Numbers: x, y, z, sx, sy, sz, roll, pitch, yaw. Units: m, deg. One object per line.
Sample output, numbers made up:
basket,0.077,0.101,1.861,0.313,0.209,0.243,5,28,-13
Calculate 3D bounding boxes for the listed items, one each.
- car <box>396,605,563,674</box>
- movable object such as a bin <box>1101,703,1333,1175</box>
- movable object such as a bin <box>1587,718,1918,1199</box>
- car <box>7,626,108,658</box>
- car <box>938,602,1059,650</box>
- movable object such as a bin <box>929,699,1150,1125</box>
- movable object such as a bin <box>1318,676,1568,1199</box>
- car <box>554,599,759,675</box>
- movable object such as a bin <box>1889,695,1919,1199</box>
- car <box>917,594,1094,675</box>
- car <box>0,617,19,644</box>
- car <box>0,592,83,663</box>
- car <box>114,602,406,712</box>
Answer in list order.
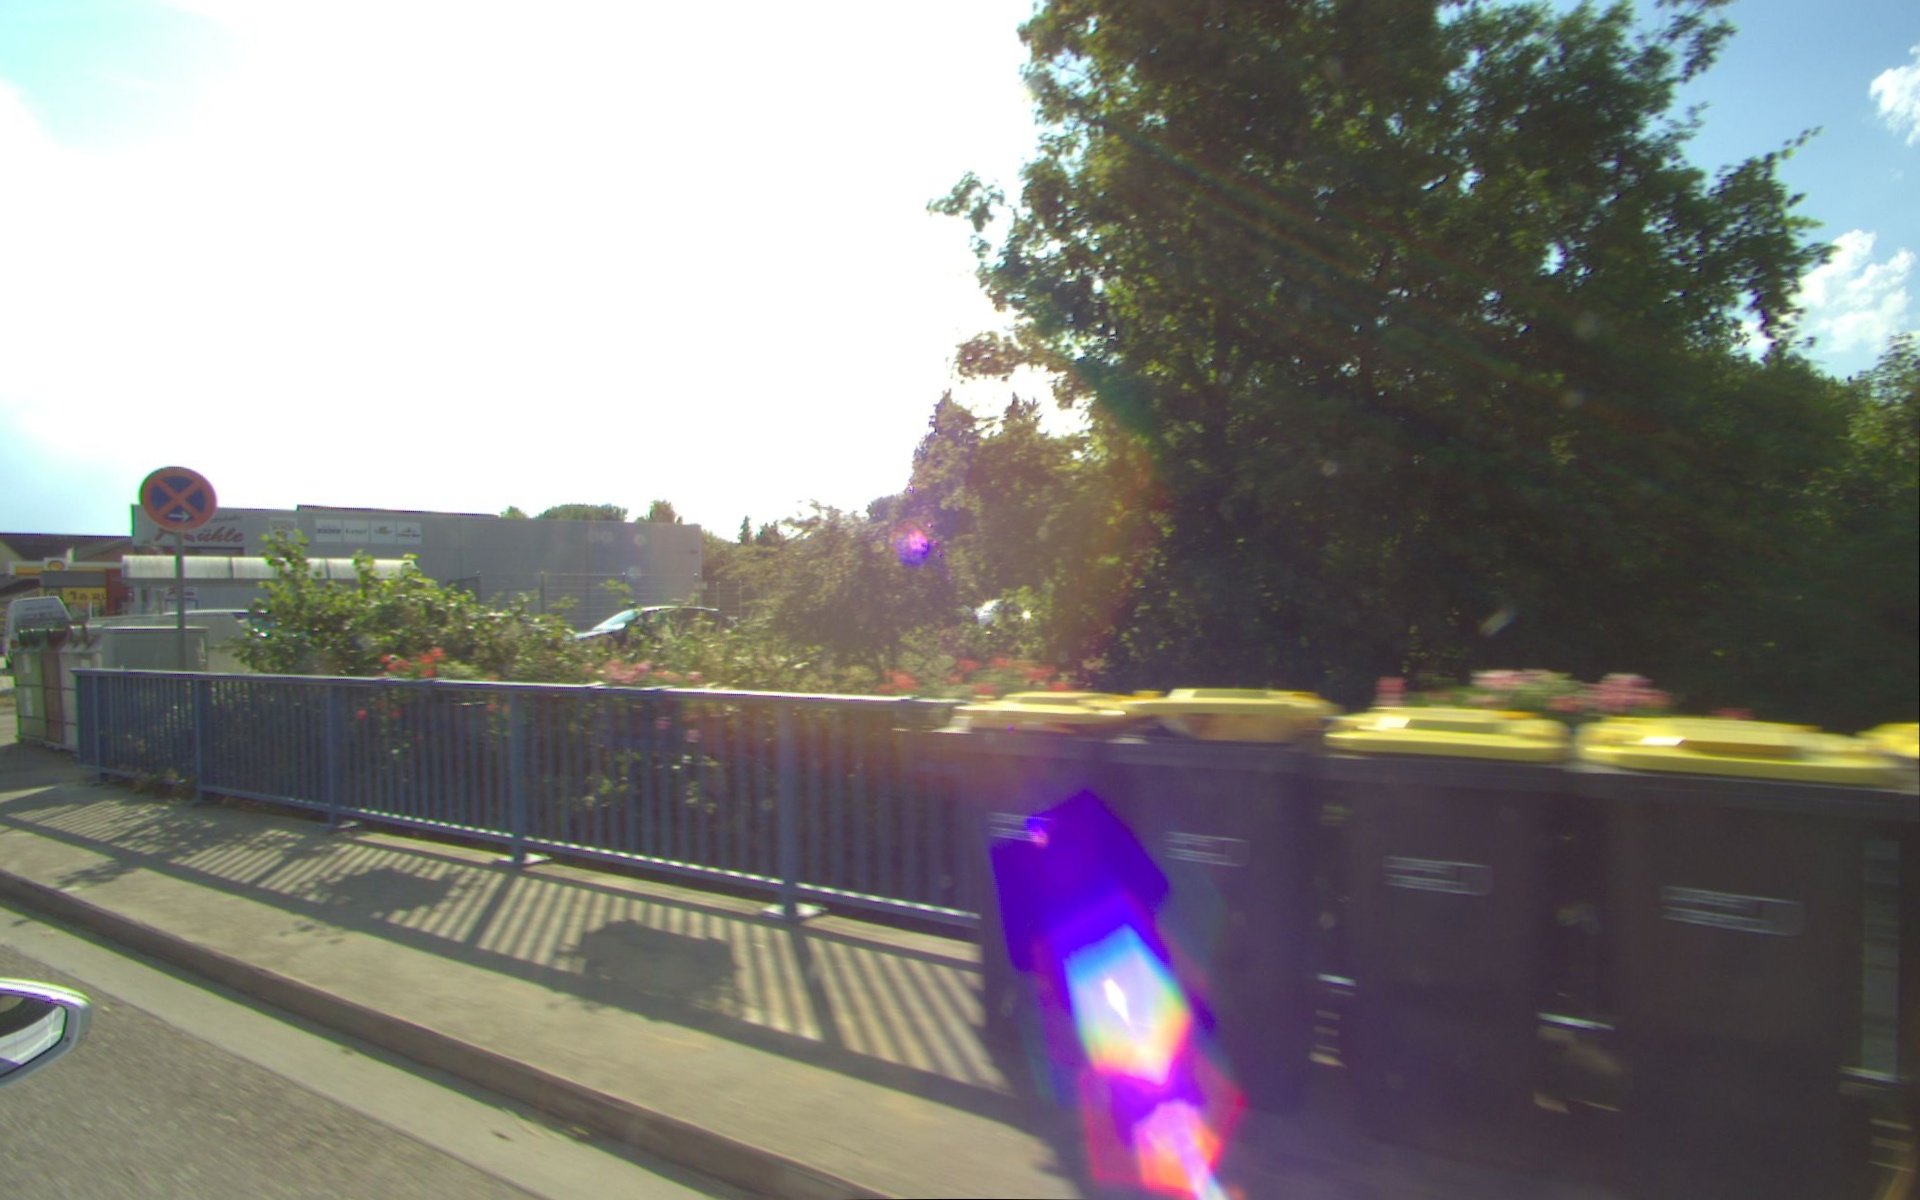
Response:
car,-11.734,0.929,24.541,3.407,1.435,1.487,-2,0,-39
movable object such as a bin,0.759,0.911,2.928,0.531,1.158,0.478,-1,1,32
movable object such as a bin,1.759,0.886,2.292,0.531,1.158,0.478,-1,1,32
car,-48.286,2.229,53.645,3.960,1.551,1.513,-1,0,-44
car,1.382,0.879,35.151,4.140,1.531,1.722,-1,-1,-39
movable object such as a bin,0.262,0.924,3.198,0.531,1.158,0.478,-1,1,32
movable object such as a bin,1.261,0.798,2.599,0.531,1.158,0.478,-1,1,32
car,-6.524,0.759,21.740,3.912,1.467,1.667,-1,-1,-43
movable object such as a bin,2.248,0.792,1.963,0.531,1.158,0.478,-1,1,32
car,0.967,0.759,22.722,1.666,1.675,3.913,-1,0,-45
car,-58.852,1.828,59.748,3.961,1.629,1.981,0,-1,-44
car,-33.556,0.996,36.521,5.123,2.406,1.826,-1,0,43
car,-11.943,0.906,17.241,3.912,1.624,1.667,-1,-1,-43
